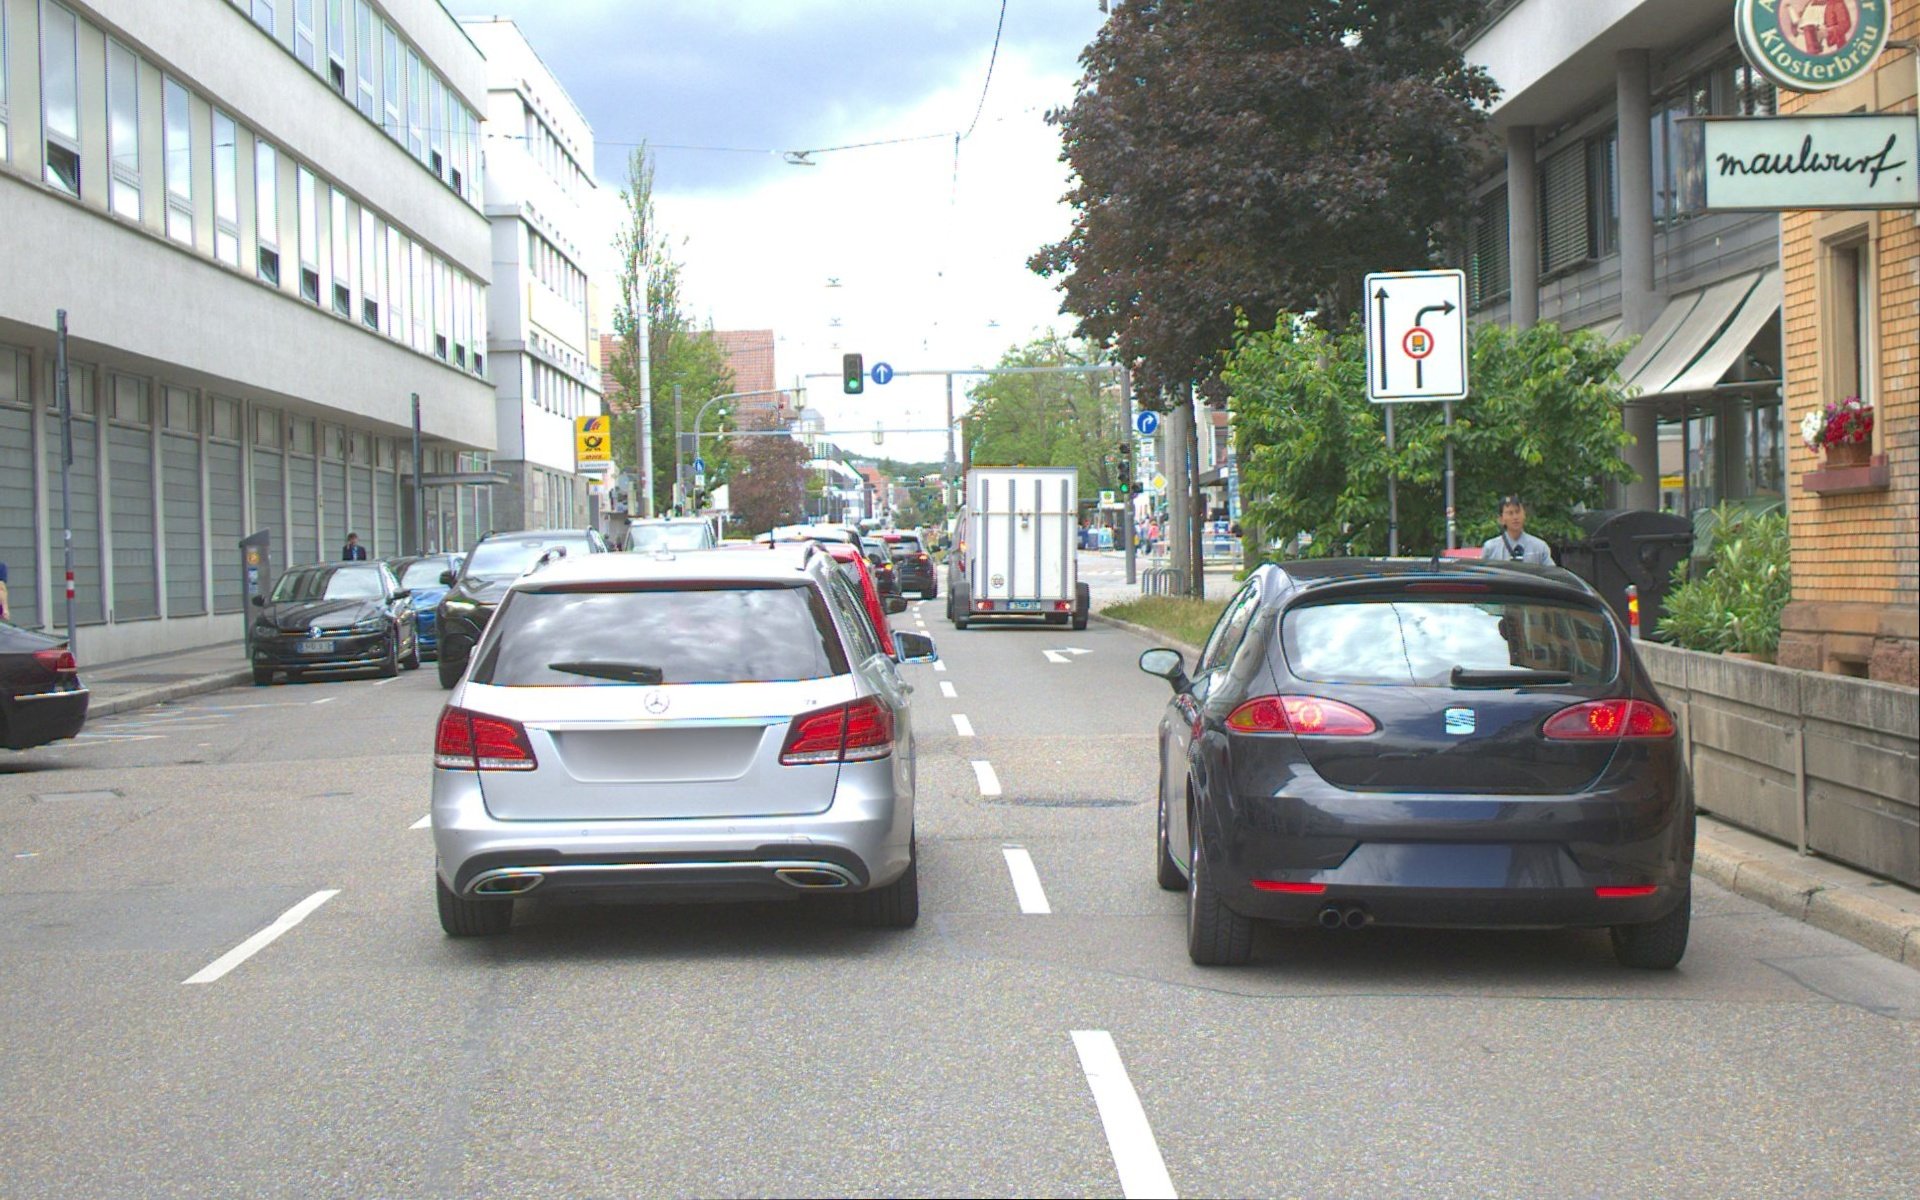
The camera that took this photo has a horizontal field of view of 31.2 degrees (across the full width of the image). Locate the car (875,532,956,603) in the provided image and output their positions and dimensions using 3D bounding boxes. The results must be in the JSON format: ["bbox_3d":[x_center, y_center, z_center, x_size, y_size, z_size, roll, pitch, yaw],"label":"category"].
[{"bbox_3d":[-1.053,-0.778,79.343,1.803,1.596,3.738,0,1,-2],"label":"car"}]

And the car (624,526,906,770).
[{"bbox_3d":[-1.324,0.274,24.232,1.803,1.547,3.738,-1,1,-2],"label":"car"}]

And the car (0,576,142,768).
[{"bbox_3d":[-8.388,0.556,24.995,4.398,1.361,1.786,-2,1,-30],"label":"car"}]

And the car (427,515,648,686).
[{"bbox_3d":[-4.707,-0.038,38.921,1.993,1.733,4.554,-3,1,-2],"label":"car"}]

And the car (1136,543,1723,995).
[{"bbox_3d":[1.636,0.524,13.178,1.765,1.428,3.828,-1,1,1],"label":"car"}]

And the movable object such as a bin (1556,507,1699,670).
[{"bbox_3d":[6.320,-0.121,32.619,0.943,1.465,1.446,-3,1,-3],"label":"movable object such as a bin"}]

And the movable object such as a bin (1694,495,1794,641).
[{"bbox_3d":[8.382,-0.344,36.783,0.821,1.499,0.732,-3,0,0],"label":"movable object such as a bin"}]

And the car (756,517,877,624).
[{"bbox_3d":[-2.192,-0.477,53.032,1.803,1.596,3.738,0,1,-2],"label":"car"}]

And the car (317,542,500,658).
[{"bbox_3d":[-7.727,-0.035,48.512,1.993,1.511,4.175,-1,1,-2],"label":"car"}]

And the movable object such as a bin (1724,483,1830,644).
[{"bbox_3d":[8.374,-0.372,35.270,0.821,1.584,0.732,-3,0,0],"label":"movable object such as a bin"}]

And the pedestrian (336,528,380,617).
[{"bbox_3d":[-11.080,-0.512,63.269,0.656,1.617,0.681,-1,1,0],"label":"pedestrian"}]

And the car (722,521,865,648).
[{"bbox_3d":[-2.159,-0.232,45.289,1.803,1.596,3.738,0,1,-2],"label":"car"}]

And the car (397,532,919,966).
[{"bbox_3d":[-1.117,0.486,13.960,1.803,1.487,3.738,-1,1,-2],"label":"car"}]

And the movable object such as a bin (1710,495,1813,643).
[{"bbox_3d":[8.391,-0.325,36.026,0.821,1.485,0.732,-3,0,0],"label":"movable object such as a bin"}]

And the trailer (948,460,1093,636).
[{"bbox_3d":[0.908,-0.838,54.451,1.993,2.598,5.350,-1,1,-2],"label":"trailer"}]

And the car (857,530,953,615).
[{"bbox_3d":[-1.091,-0.563,66.439,1.803,1.596,3.738,0,1,-2],"label":"car"}]

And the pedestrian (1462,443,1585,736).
[{"bbox_3d":[3.936,-0.081,24.045,0.693,2.007,0.677,-1,1,-2],"label":"pedestrian"}]

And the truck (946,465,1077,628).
[{"bbox_3d":[0.829,-0.904,57.235,1.993,2.598,3.261,-1,1,-2],"label":"truck"}]

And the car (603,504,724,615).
[{"bbox_3d":[-5.721,-0.815,66.900,1.993,2.007,4.903,-2,1,-2],"label":"car"}]

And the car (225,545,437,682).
[{"bbox_3d":[-7.732,0.127,42.597,1.912,1.511,4.175,-2,1,-2],"label":"car"}]

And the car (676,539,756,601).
[{"bbox_3d":[-6.055,-0.770,85.639,1.769,1.408,4.175,-2,1,-2],"label":"car"}]

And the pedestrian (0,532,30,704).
[{"bbox_3d":[-10.079,0.185,35.634,0.642,1.763,0.810,-1,1,-2],"label":"pedestrian"}]
